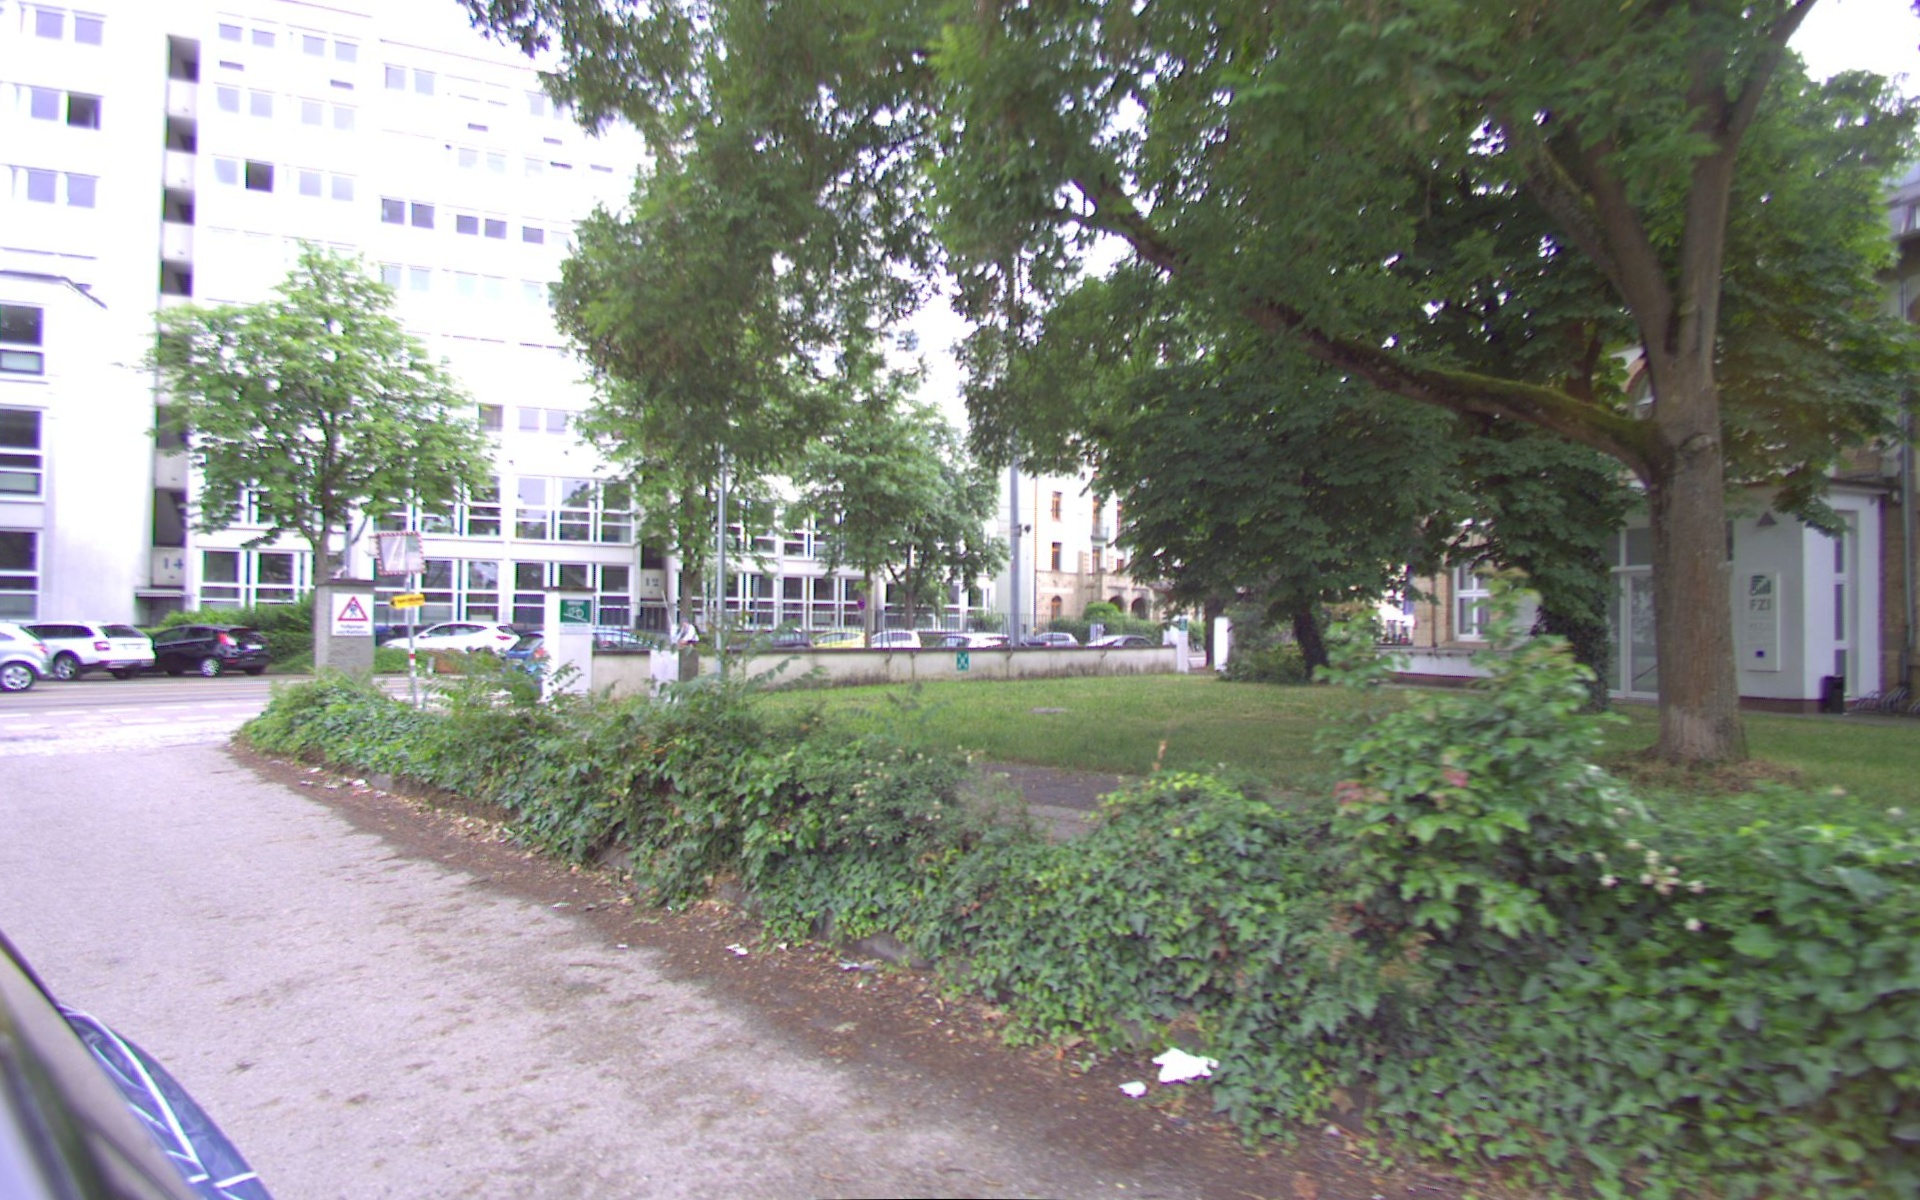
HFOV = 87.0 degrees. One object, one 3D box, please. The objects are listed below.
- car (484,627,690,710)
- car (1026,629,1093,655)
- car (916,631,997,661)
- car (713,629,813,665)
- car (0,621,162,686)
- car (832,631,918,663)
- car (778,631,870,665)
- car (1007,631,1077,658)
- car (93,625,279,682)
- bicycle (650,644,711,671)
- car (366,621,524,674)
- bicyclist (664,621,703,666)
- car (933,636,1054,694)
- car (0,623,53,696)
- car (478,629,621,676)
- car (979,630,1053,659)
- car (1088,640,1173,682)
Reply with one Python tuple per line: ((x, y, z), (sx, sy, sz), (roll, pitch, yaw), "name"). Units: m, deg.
((-7.184, 1.286, 19.713), (1.679, 1.472, 3.385), (-3, -4, 41), "car")
((5.919, 2.498, 60.051), (3.690, 1.396, 1.689), (1, -1, 19), "car")
((-0.208, 2.313, 50.715), (3.910, 1.362, 1.701), (2, -1, -2), "car")
((-8.248, 1.977, 42.693), (3.910, 1.362, 1.701), (2, -1, -2), "car")
((-23.002, 1.340, 25.878), (3.978, 1.495, 1.697), (1, -1, 5), "car")
((-3.957, 2.188, 47.242), (3.910, 1.362, 1.701), (2, -1, -2), "car")
((-6.020, 2.107, 45.070), (3.910, 1.362, 1.701), (2, -1, -2), "car")
((4.667, 2.523, 57.449), (3.690, 1.396, 1.689), (1, -1, 19), "car")
((-21.435, 1.450, 28.104), (3.978, 1.416, 1.697), (1, -1, 5), "car")
((-9.619, 1.969, 34.899), (0.470, 0.875, 2.108), (-2, -3, 43), "bicycle")
((-16.769, 1.540, 33.114), (4.279, 1.568, 1.702), (2, -1, -6), "car")
((-9.511, 1.484, 34.840), (0.846, 1.512, 1.012), (-2, -3, 43), "bicyclist")
((0.995, 1.784, 28.562), (1.480, 1.492, 3.516), (1, -1, 42), "car")
((-20.358, 1.158, 19.630), (1.746, 1.440, 3.944), (-1, -2, 42), "car")
((-14.267, 1.828, 35.358), (4.283, 1.465, 1.701), (2, -1, -2), "car")
((3.074, 2.409, 55.065), (3.690, 1.396, 1.689), (1, -1, 19), "car")
((5.790, 2.019, 34.187), (1.512, 1.312, 3.137), (-1, -2, 39), "car")
